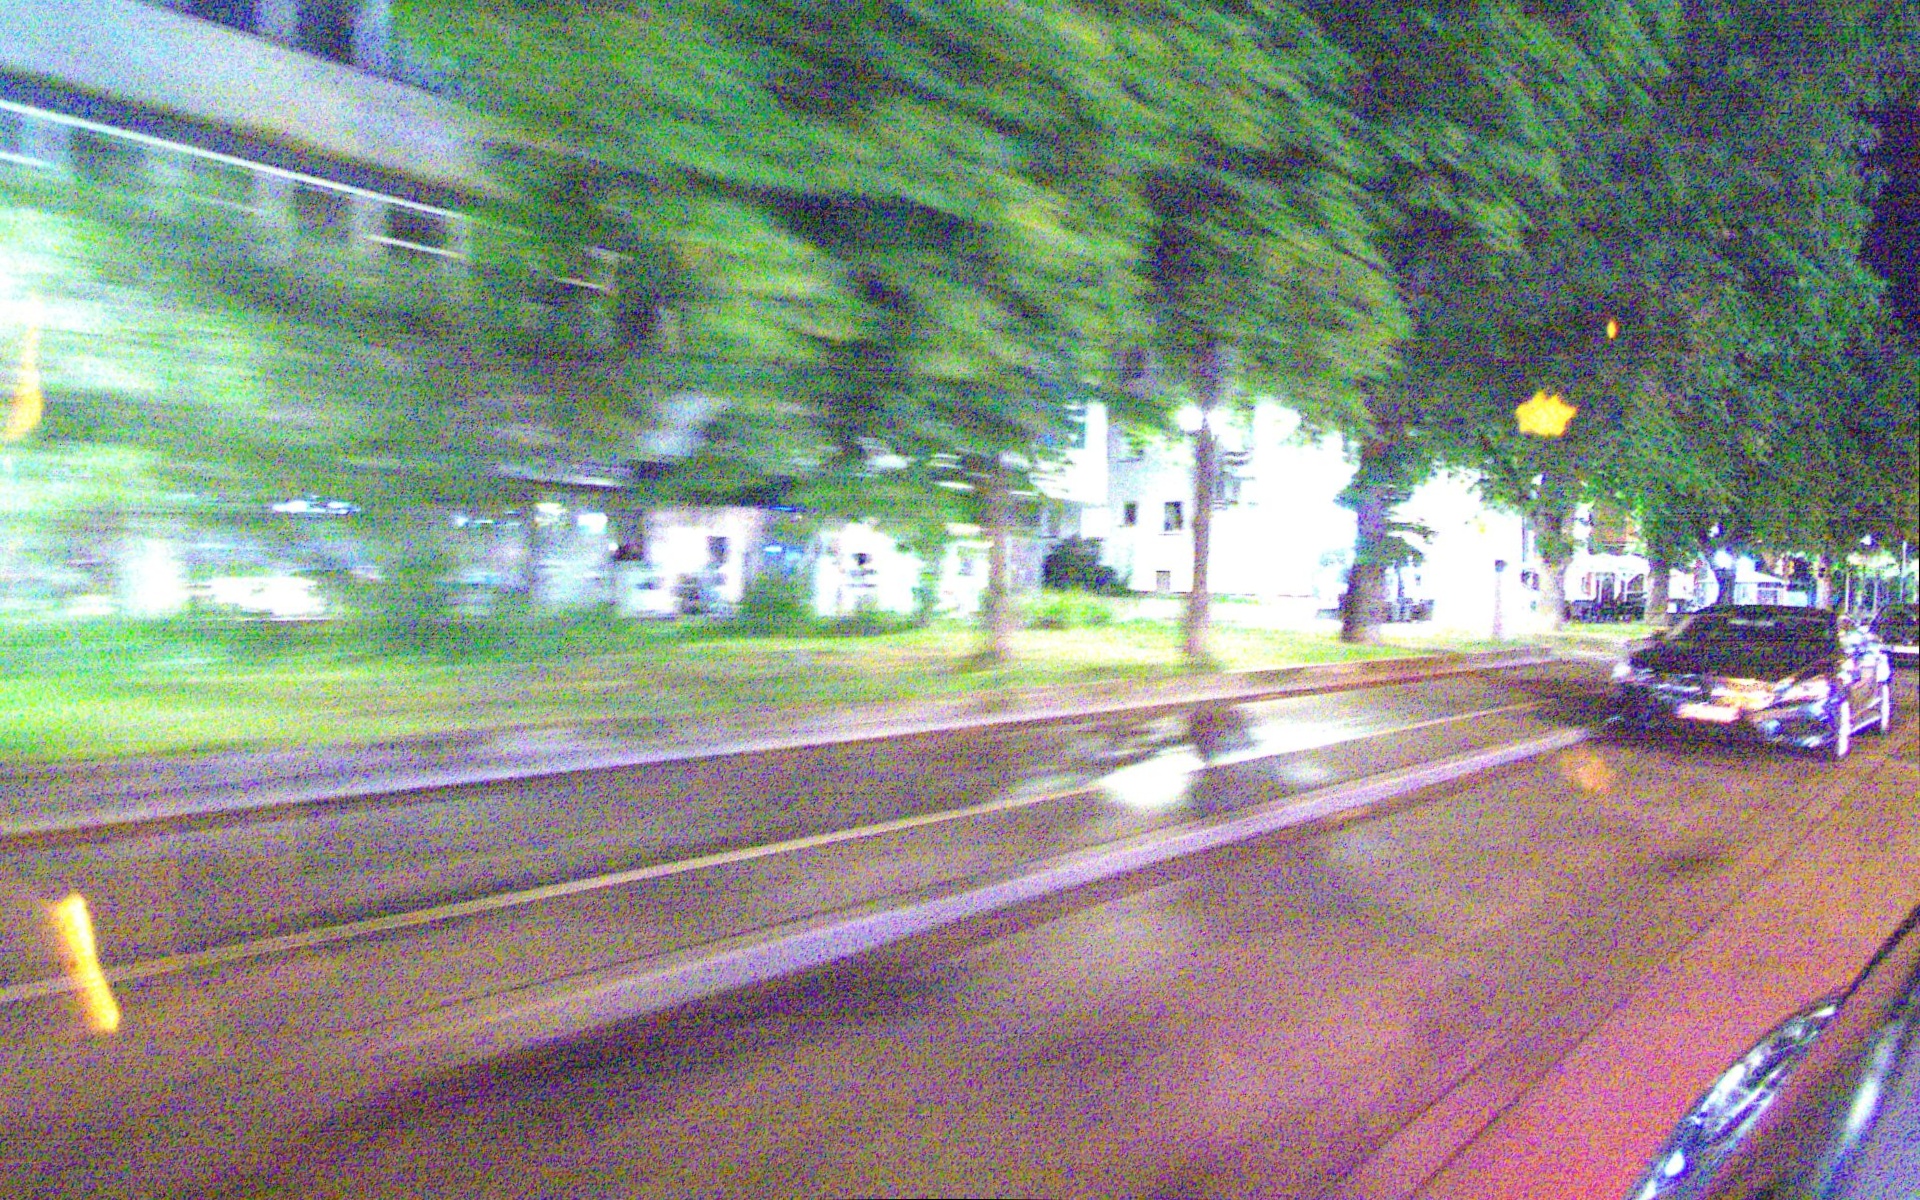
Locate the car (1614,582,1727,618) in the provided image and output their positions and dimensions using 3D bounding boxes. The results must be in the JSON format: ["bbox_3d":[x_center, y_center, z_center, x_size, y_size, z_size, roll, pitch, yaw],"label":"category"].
[{"bbox_3d":[35.494,-0.037,50.637,1.773,1.550,4.323,-1,3,-42],"label":"car"}]

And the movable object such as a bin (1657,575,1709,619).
[{"bbox_3d":[23.282,-0.107,32.585,0.976,1.388,1.162,0,1,-43],"label":"movable object such as a bin"}]

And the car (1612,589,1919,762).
[{"bbox_3d":[8.891,0.657,11.001,4.724,1.431,1.767,0,2,-41],"label":"car"}]

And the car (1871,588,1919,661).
[{"bbox_3d":[22.498,0.553,23.358,3.946,1.555,1.693,0,3,-42],"label":"car"}]
